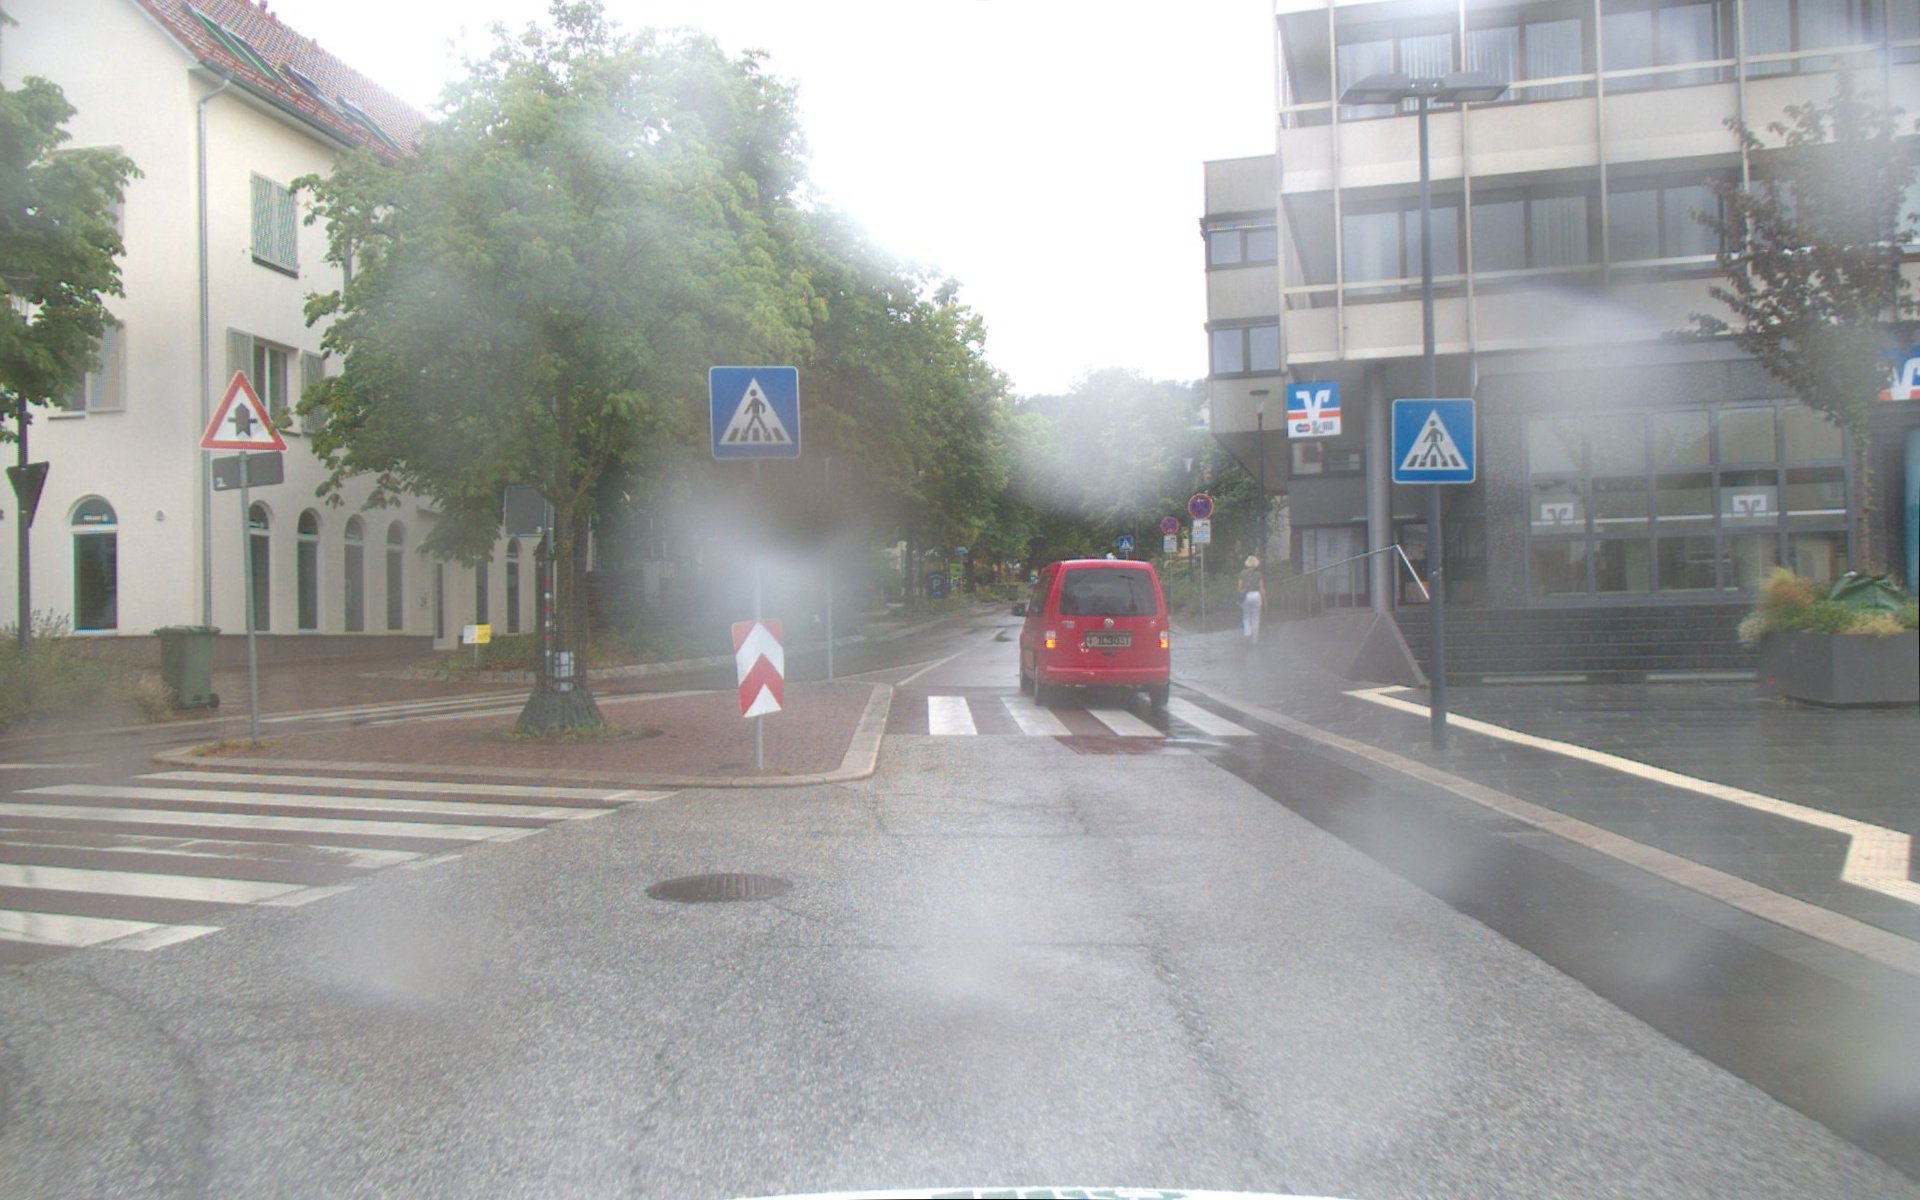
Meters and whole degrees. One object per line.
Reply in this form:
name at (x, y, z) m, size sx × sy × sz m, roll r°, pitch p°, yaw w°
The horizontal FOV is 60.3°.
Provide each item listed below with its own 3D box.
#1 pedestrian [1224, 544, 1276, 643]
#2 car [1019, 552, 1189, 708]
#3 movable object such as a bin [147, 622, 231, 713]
pedestrian at (5.661, -0.116, 32.253) m, size 0.817 × 1.862 × 0.816 m, roll -3°, pitch -2°, yaw 17°
car at (1.835, 0.376, 22.289) m, size 1.824 × 1.862 × 4.184 m, roll -1°, pitch 0°, yaw -1°
movable object such as a bin at (-10.033, 0.873, 21.537) m, size 0.721 × 1.144 × 0.650 m, roll -2°, pitch -1°, yaw 14°
